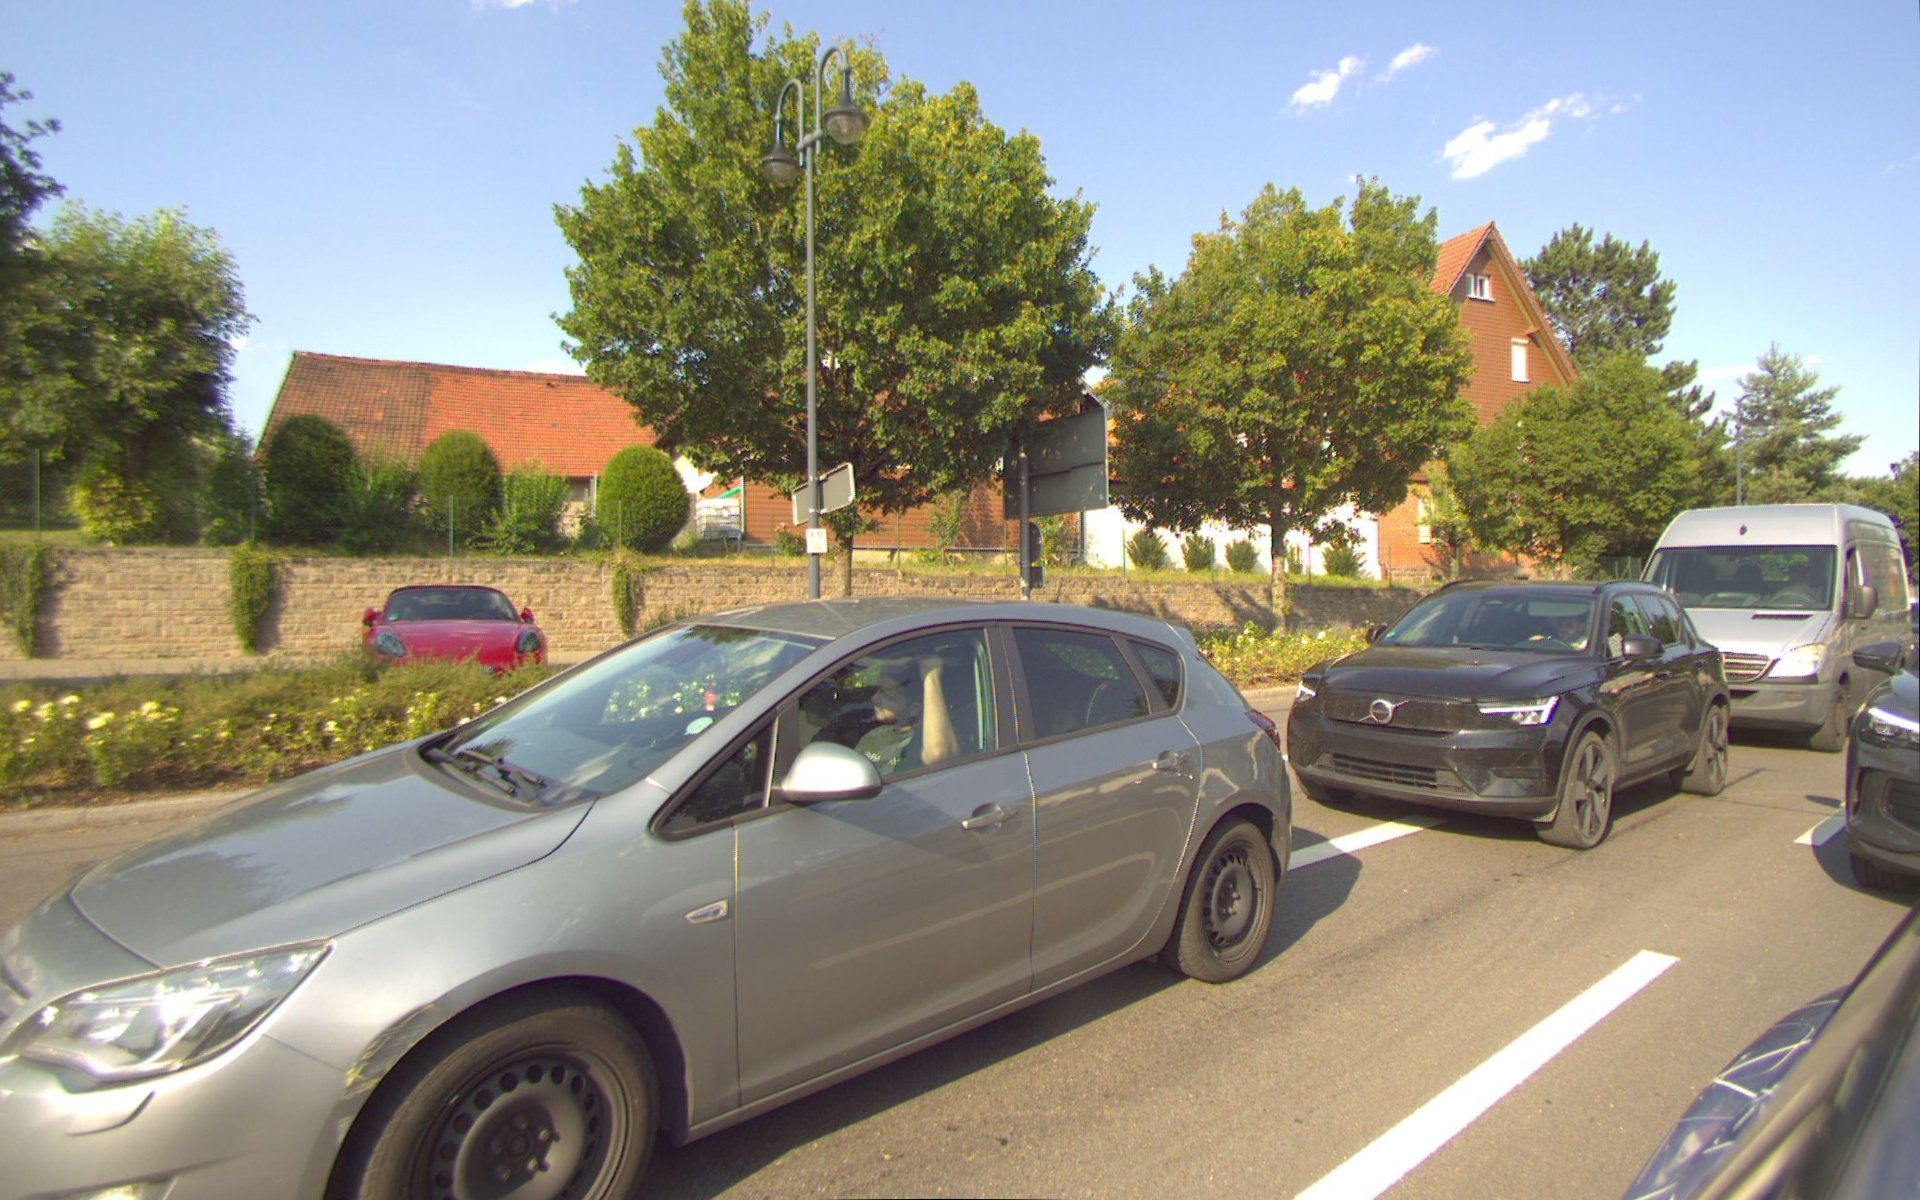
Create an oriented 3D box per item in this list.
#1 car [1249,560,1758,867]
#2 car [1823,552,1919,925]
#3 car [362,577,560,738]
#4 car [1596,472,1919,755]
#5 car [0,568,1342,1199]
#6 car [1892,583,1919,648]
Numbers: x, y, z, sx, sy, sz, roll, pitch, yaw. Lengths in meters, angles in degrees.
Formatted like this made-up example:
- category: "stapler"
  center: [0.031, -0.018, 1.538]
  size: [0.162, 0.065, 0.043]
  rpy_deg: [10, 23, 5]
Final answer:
- category: "car"
  center: [4.158, 0.568, 7.442]
  size: [4.242, 1.629, 1.844]
  rpy_deg: [0, 2, -40]
- category: "car"
  center: [6.211, 0.619, 5.327]
  size: [4.242, 1.629, 1.844]
  rpy_deg: [0, 2, -40]
- category: "car"
  center: [-5.899, 0.528, 11.703]
  size: [1.743, 1.510, 4.156]
  rpy_deg: [0, 0, -31]
- category: "car"
  center: [9.724, 0.088, 11.960]
  size: [5.938, 2.601, 1.992]
  rpy_deg: [0, 1, -40]
- category: "car"
  center: [-0.561, 0.667, 3.512]
  size: [4.244, 1.471, 1.765]
  rpy_deg: [0, 2, -42]
- category: "car"
  center: [26.116, 0.403, 26.606]
  size: [4.242, 1.629, 1.844]
  rpy_deg: [0, 2, -40]
